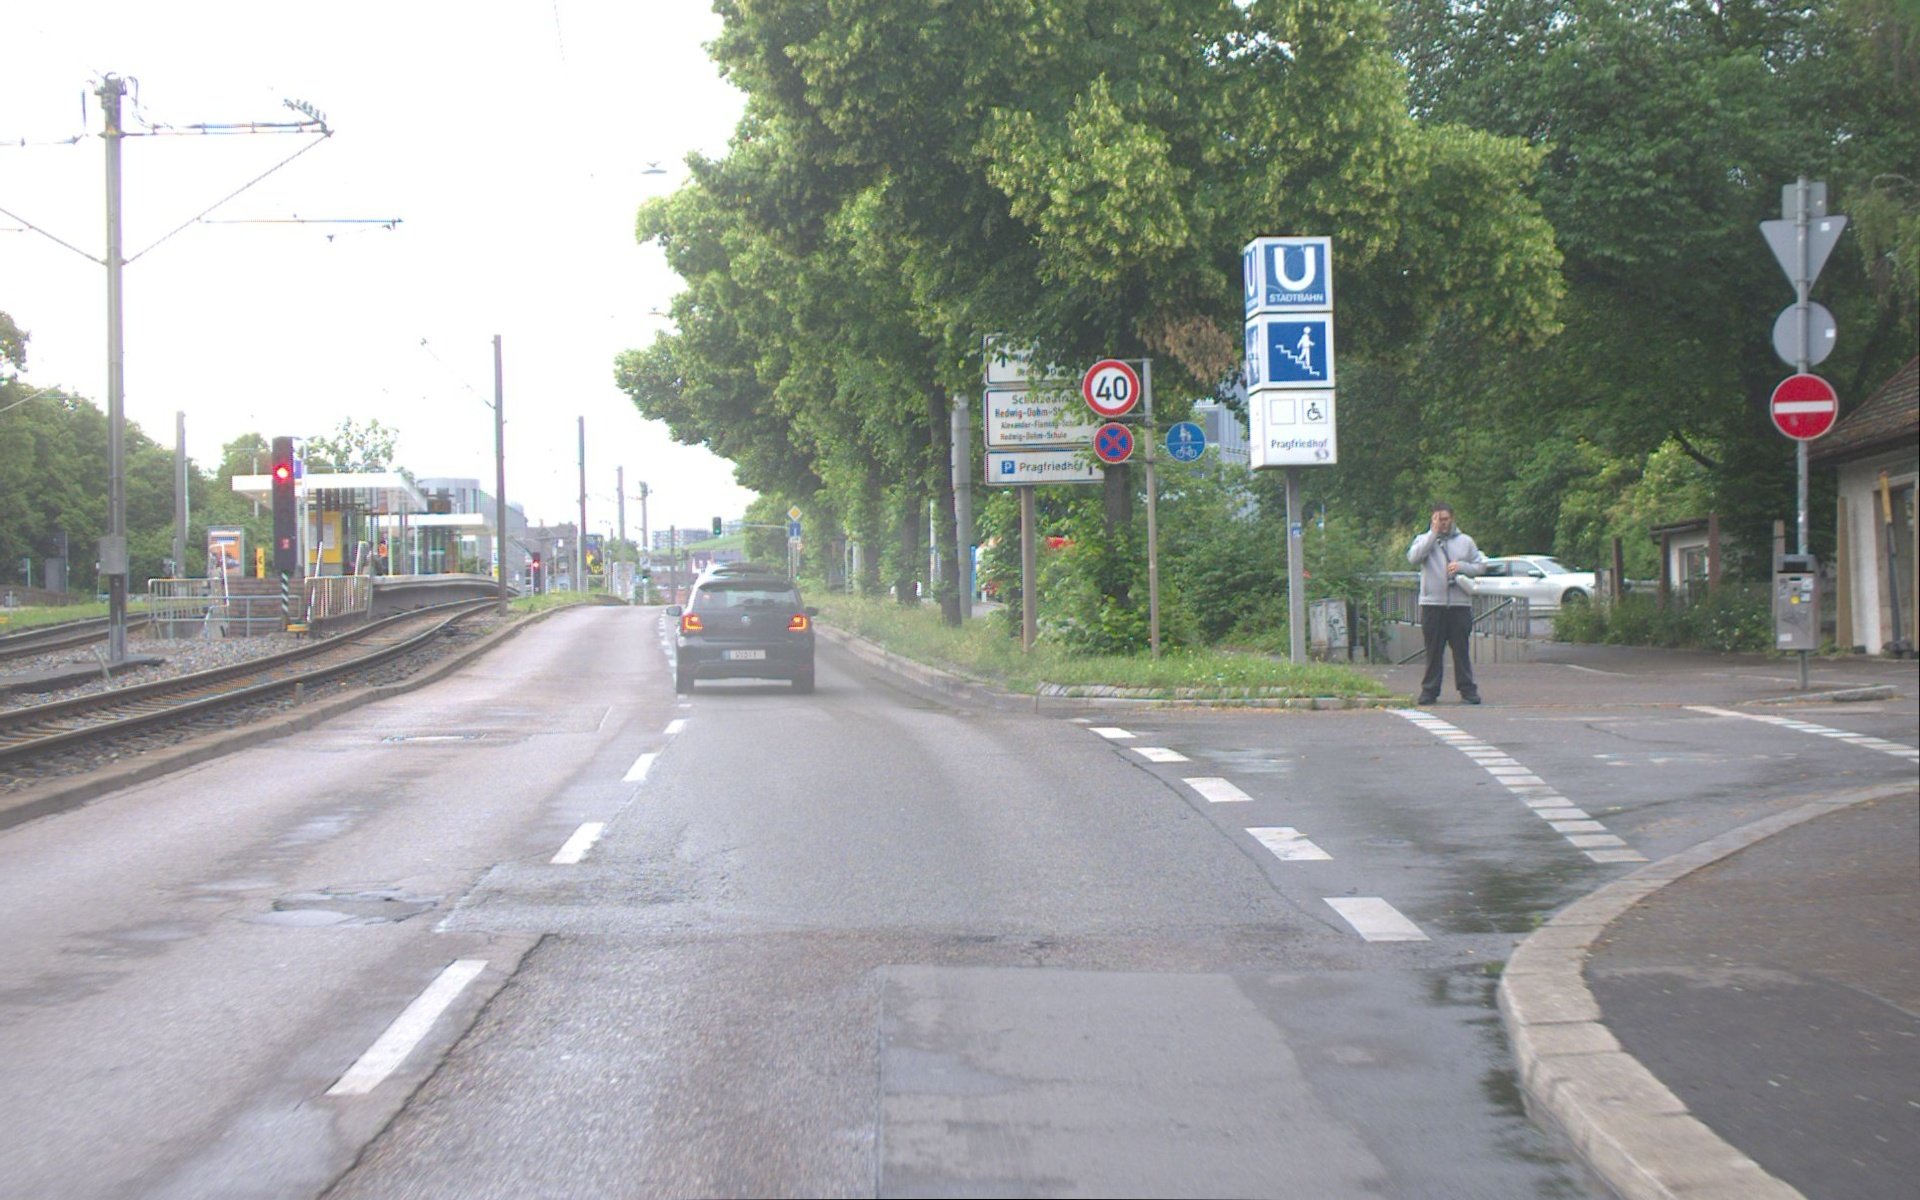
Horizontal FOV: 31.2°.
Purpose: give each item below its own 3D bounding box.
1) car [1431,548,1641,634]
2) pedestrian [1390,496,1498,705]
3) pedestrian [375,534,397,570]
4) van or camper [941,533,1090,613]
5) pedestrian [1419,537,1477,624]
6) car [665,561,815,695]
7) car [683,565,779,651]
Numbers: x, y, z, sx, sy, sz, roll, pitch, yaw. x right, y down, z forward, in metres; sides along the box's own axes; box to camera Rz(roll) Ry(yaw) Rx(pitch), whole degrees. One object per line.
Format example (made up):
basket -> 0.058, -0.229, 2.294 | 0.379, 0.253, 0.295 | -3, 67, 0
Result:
car -> 13.352, -0.220, 79.873 | 1.941, 1.828, 4.465 | 1, 1, -45
pedestrian -> 4.336, 0.001, 30.837 | 0.855, 1.847, 0.737 | 0, 0, -1
pedestrian -> -19.524, -1.636, 116.951 | 0.710, 1.221, 0.619 | 0, 0, -4
van or camper -> 1.921, -0.909, 116.691 | 2.039, 2.398, 5.379 | 4, 0, 39
pedestrian -> 11.277, -0.449, 79.452 | 0.960, 2.007, 0.951 | 0, 0, -28
car -> -2.666, 0.305, 42.078 | 1.726, 1.535, 4.001 | -1, 1, -3
car -> -4.243, 0.115, 63.423 | 1.687, 1.512, 4.001 | -1, 1, -4
